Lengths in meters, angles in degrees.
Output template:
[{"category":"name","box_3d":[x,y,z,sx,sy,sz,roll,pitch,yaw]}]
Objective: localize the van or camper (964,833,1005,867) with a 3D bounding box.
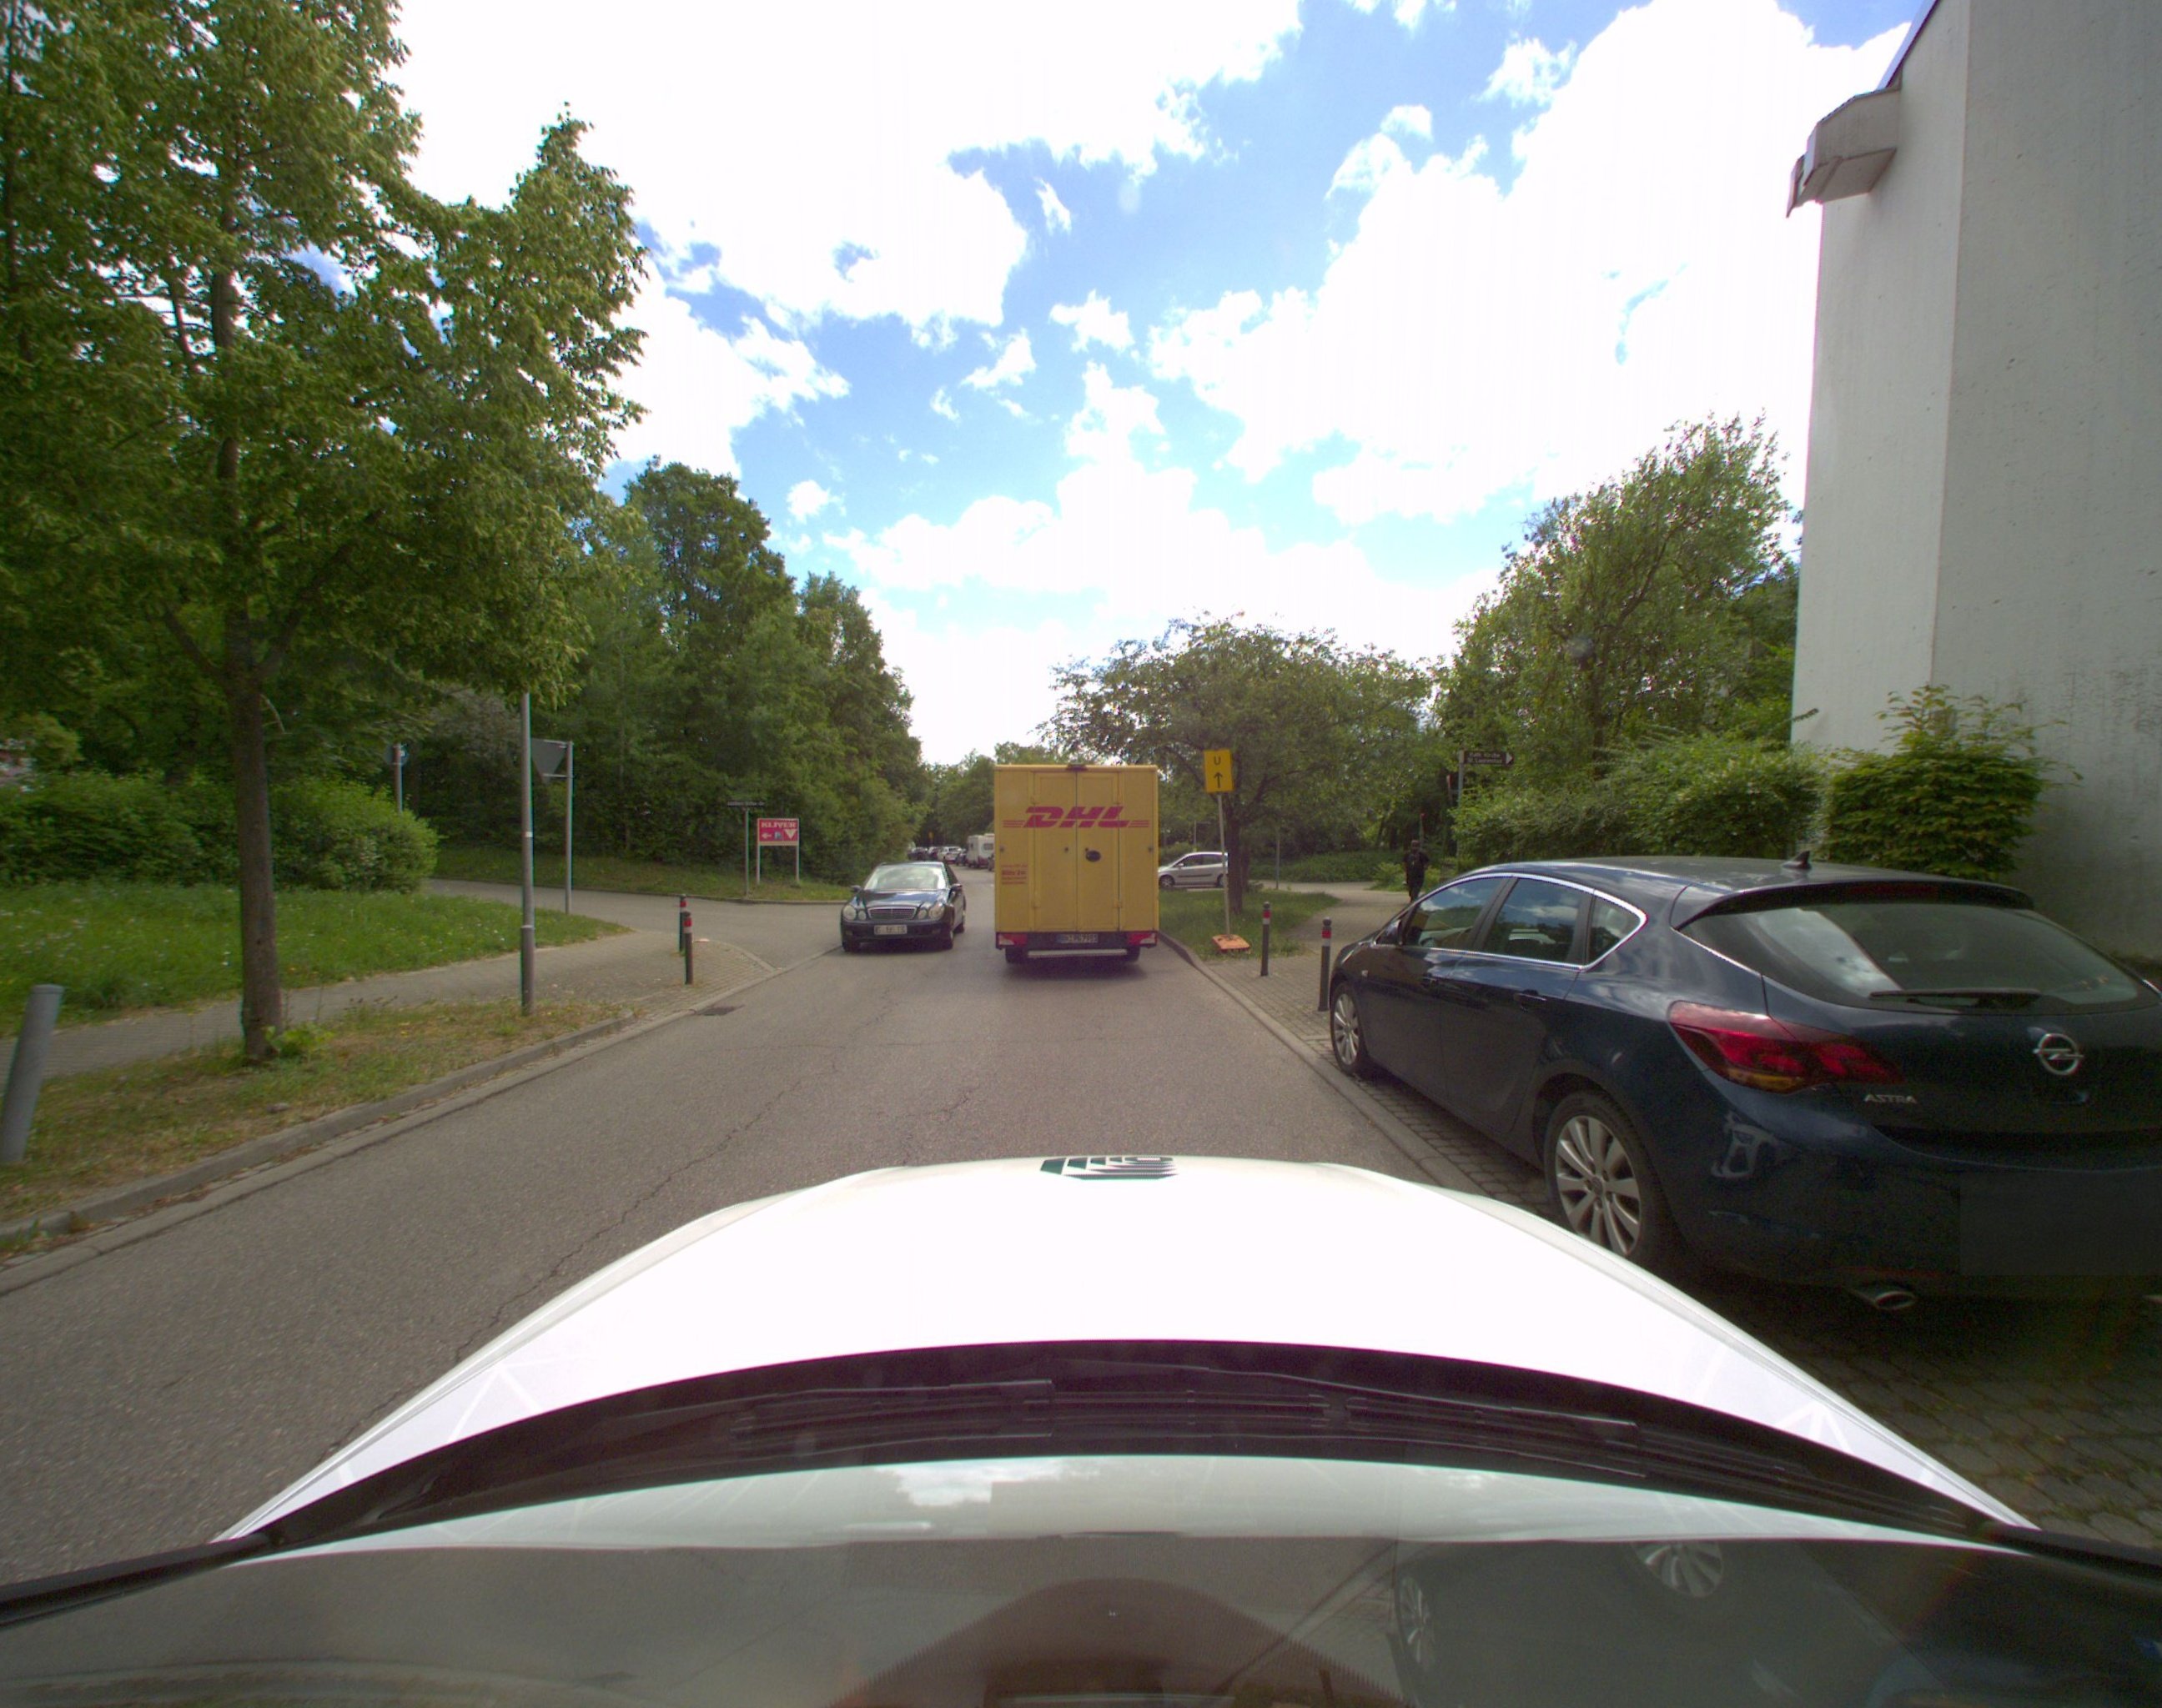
[{"category":"van or camper","box_3d":[-8.402,-0.371,70.302,2.339,2.869,6.112,0,1,-18]}]

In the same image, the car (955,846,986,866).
[{"category":"car","box_3d":[-10.342,0.198,76.081,1.719,1.591,3.969,-9,4,-23]}]

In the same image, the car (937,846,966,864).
[{"category":"car","box_3d":[-13.182,0.097,82.412,1.879,1.689,4.545,0,1,-23]}]

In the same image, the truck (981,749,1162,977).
[{"category":"truck","box_3d":[-0.118,0.105,13.467,2.218,2.808,6.570,-1,0,0]}]

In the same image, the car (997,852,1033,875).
[{"category":"car","box_3d":[-4.575,0.618,56.081,1.778,1.434,4.313,-2,1,-14]}]

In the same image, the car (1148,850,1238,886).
[{"category":"car","box_3d":[4.747,0.601,34.862,3.627,1.456,1.848,-1,-1,1]}]

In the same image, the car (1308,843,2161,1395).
[{"category":"car","box_3d":[2.571,0.687,4.149,1.685,1.420,3.999,-1,0,0]}]

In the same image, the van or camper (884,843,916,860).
[{"category":"van or camper","box_3d":[-22.017,-0.340,99.028,2.008,1.919,5.212,-3,3,-33]}]

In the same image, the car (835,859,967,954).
[{"category":"car","box_3d":[-3.107,0.836,14.906,1.749,1.419,4.360,-1,0,-5]}]

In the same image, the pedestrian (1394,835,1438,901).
[{"category":"pedestrian","box_3d":[9.033,0.365,21.964,0.830,1.737,0.784,0,-1,-4]}]

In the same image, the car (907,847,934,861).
[{"category":"car","box_3d":[-18.539,-0.046,94.037,1.809,1.464,3.962,-2,1,-30]}]

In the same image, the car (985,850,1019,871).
[{"category":"car","box_3d":[-6.140,0.539,63.033,1.734,1.519,3.865,-2,0,-18]}]

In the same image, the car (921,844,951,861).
[{"category":"car","box_3d":[-15.675,-0.186,87.833,2.004,1.626,4.243,-4,3,-25]}]
